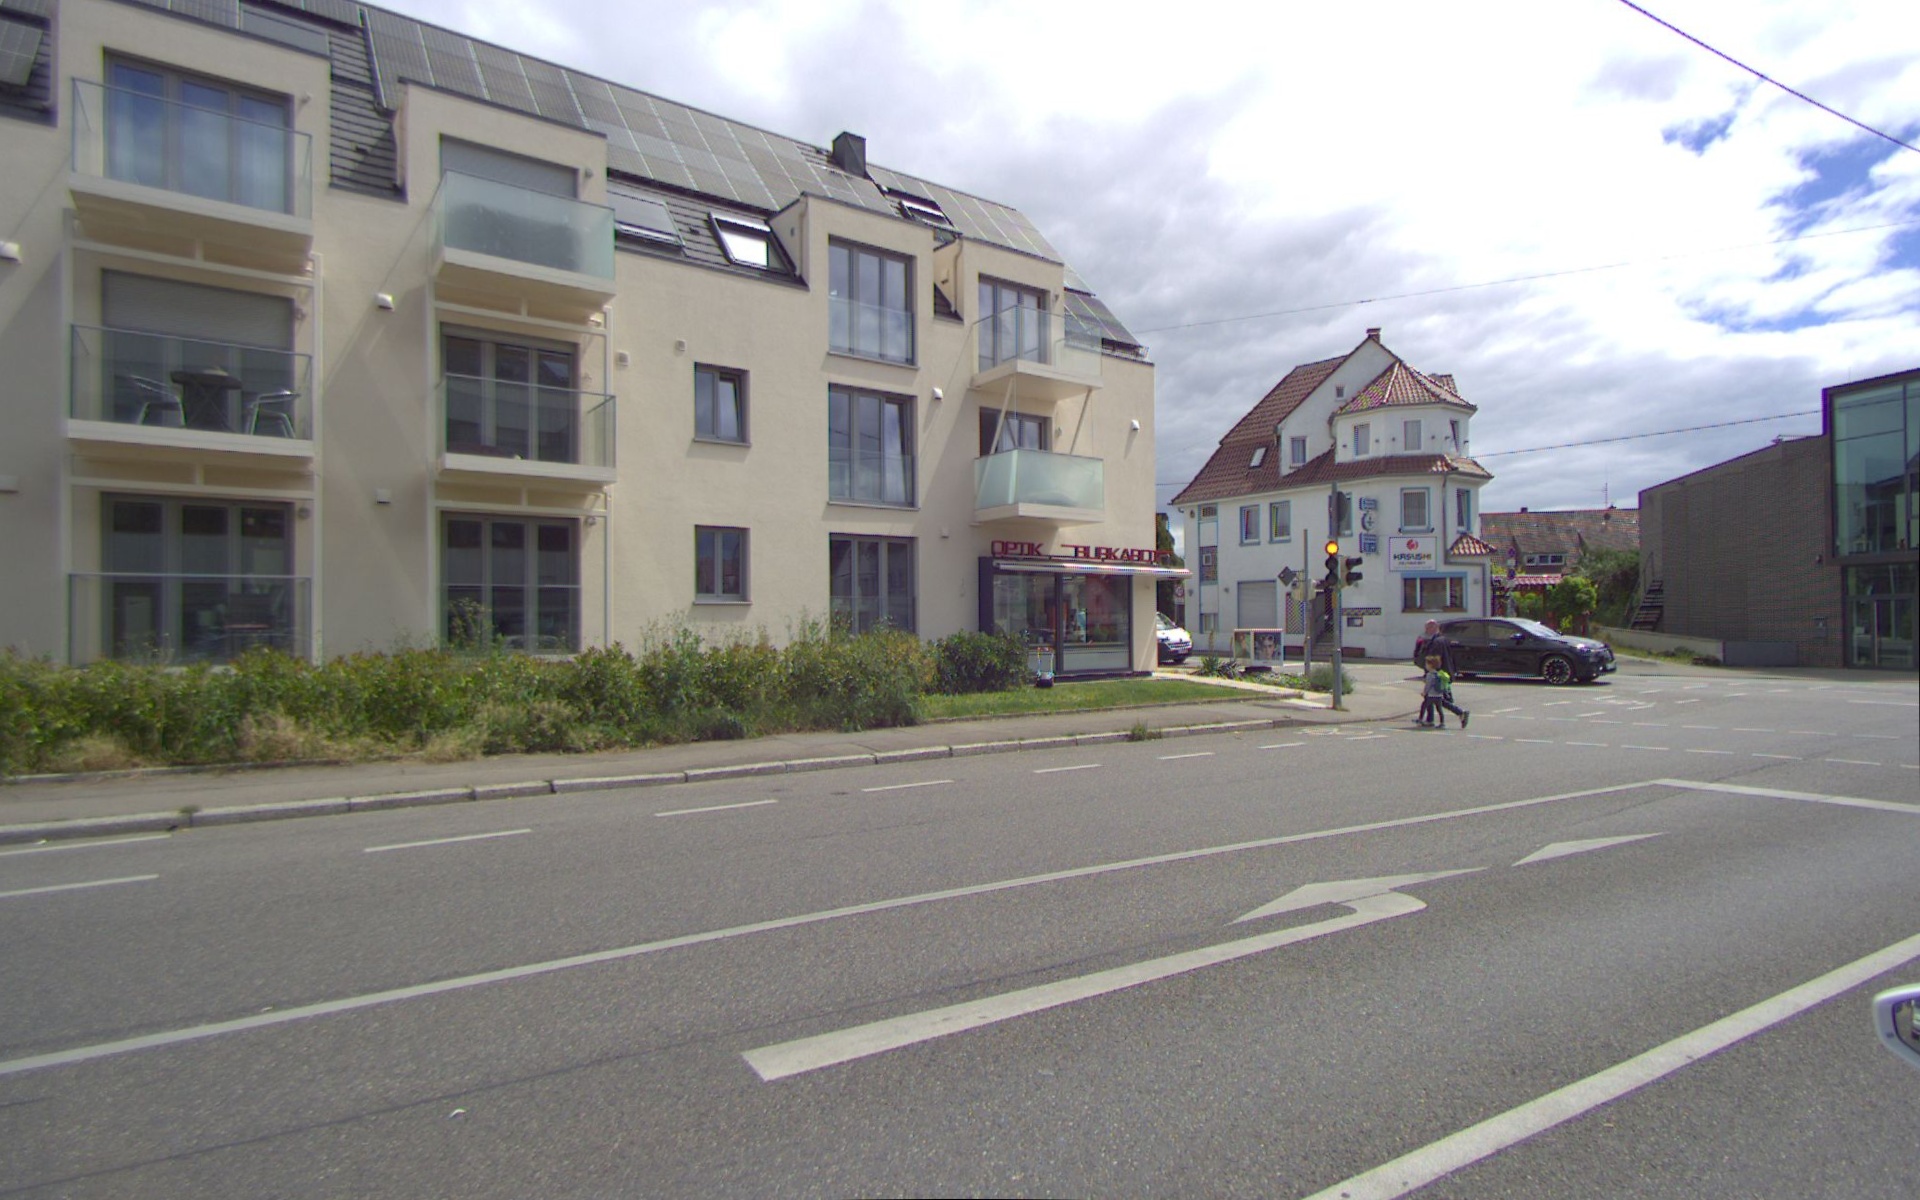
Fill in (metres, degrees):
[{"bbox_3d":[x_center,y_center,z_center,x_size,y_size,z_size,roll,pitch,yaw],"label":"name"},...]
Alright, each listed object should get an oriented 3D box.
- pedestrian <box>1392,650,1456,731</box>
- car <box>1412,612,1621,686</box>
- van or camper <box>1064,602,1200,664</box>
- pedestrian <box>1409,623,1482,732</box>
[{"bbox_3d":[7.483,1.437,16.194,0.640,1.238,0.728,1,-1,-37],"label":"pedestrian"},{"bbox_3d":[14.738,1.255,26.799,1.982,1.766,4.466,-1,-1,-38],"label":"car"},{"bbox_3d":[6.445,1.193,38.160,1.983,2.105,5.077,1,0,-38],"label":"van or camper"},{"bbox_3d":[8.052,1.257,16.664,0.809,1.744,0.817,1,-1,-35],"label":"pedestrian"}]
